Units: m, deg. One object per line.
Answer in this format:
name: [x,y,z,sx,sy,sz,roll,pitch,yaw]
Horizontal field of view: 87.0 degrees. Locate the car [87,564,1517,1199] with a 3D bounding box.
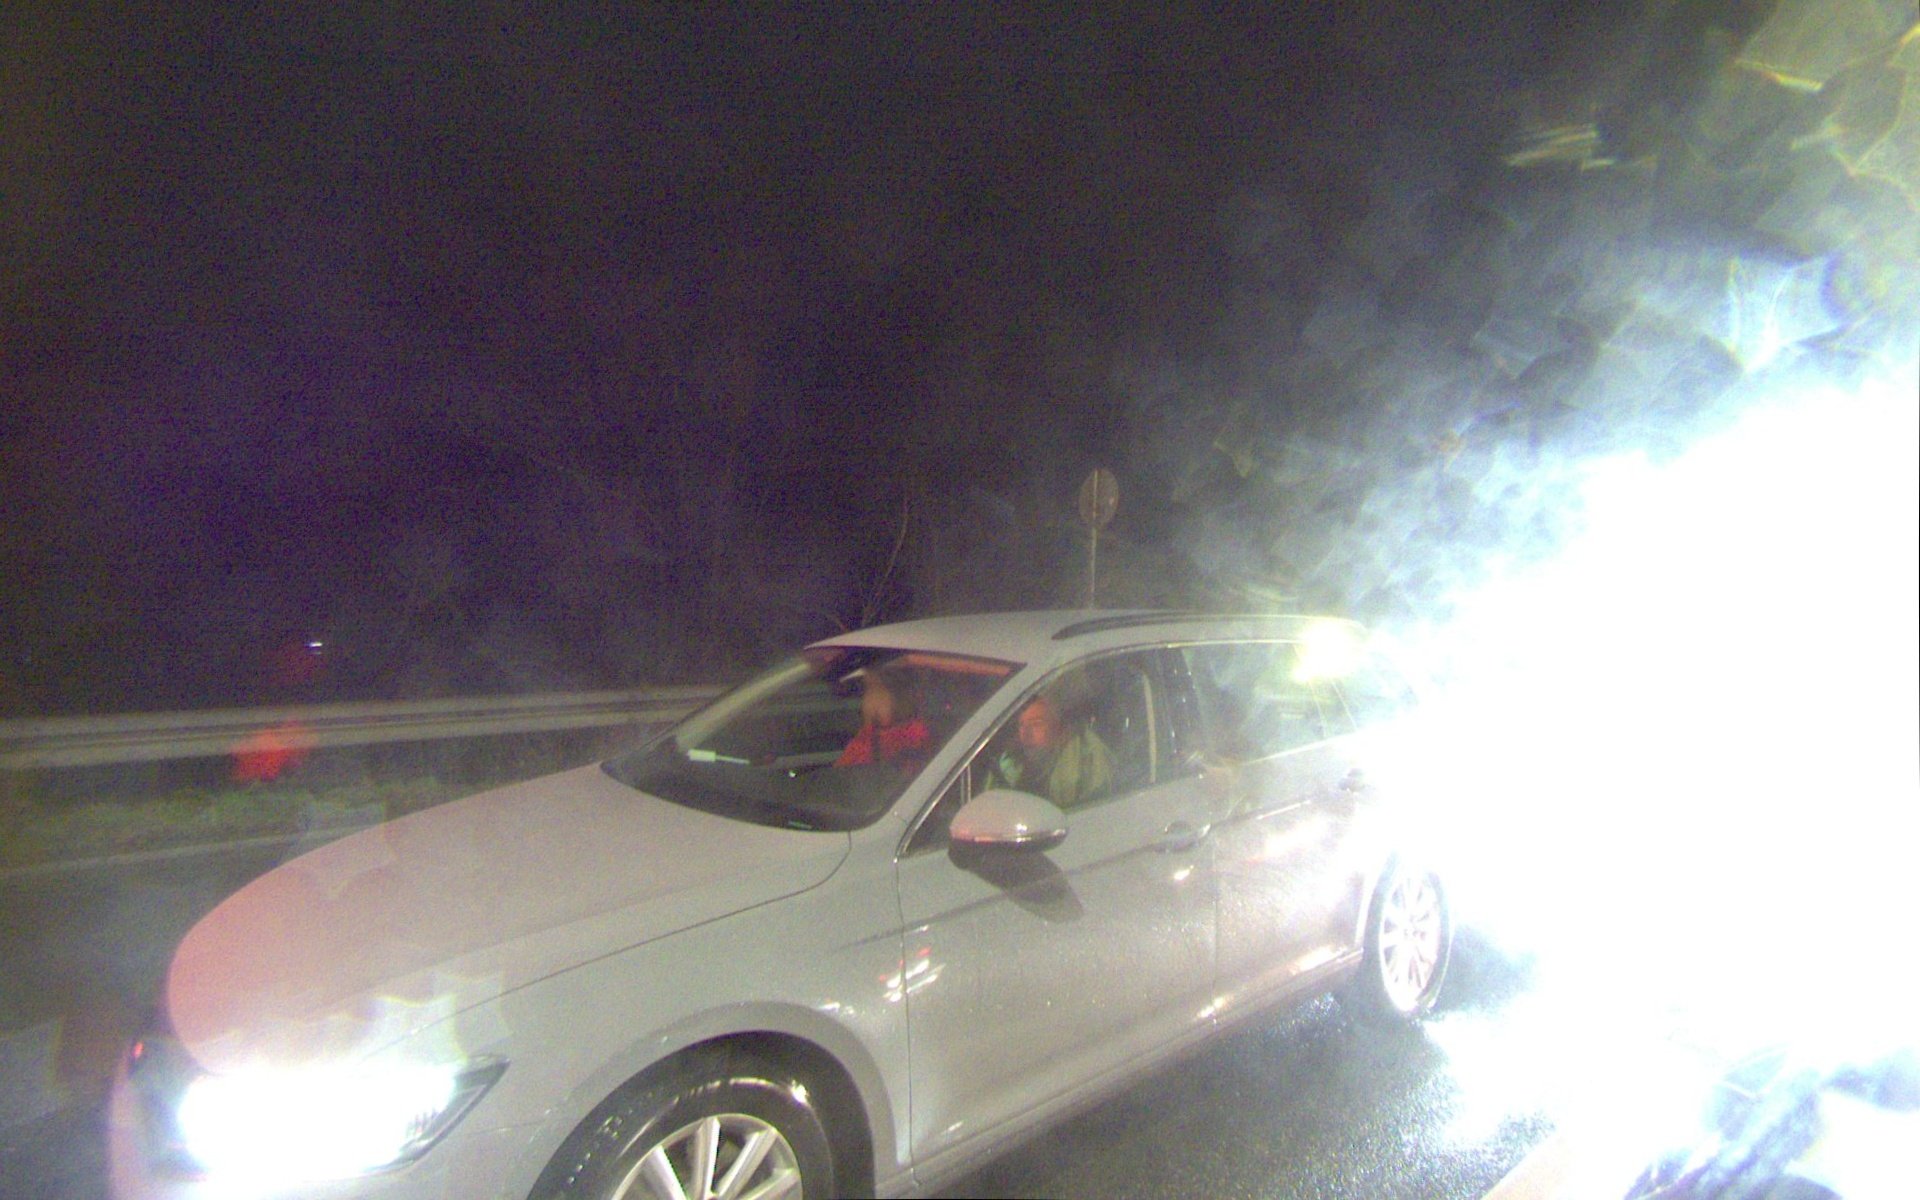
car: [0.032,0.700,3.317,4.336,1.541,1.710,-1,0,-40]

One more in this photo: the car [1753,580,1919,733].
car: [11.563,0.578,12.499,4.315,1.618,1.997,-1,2,-41]

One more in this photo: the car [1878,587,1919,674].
car: [19.844,0.561,20.004,4.315,1.618,1.997,-1,2,-41]

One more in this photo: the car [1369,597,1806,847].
car: [5.074,0.716,7.960,4.066,1.435,1.742,-1,0,-40]
